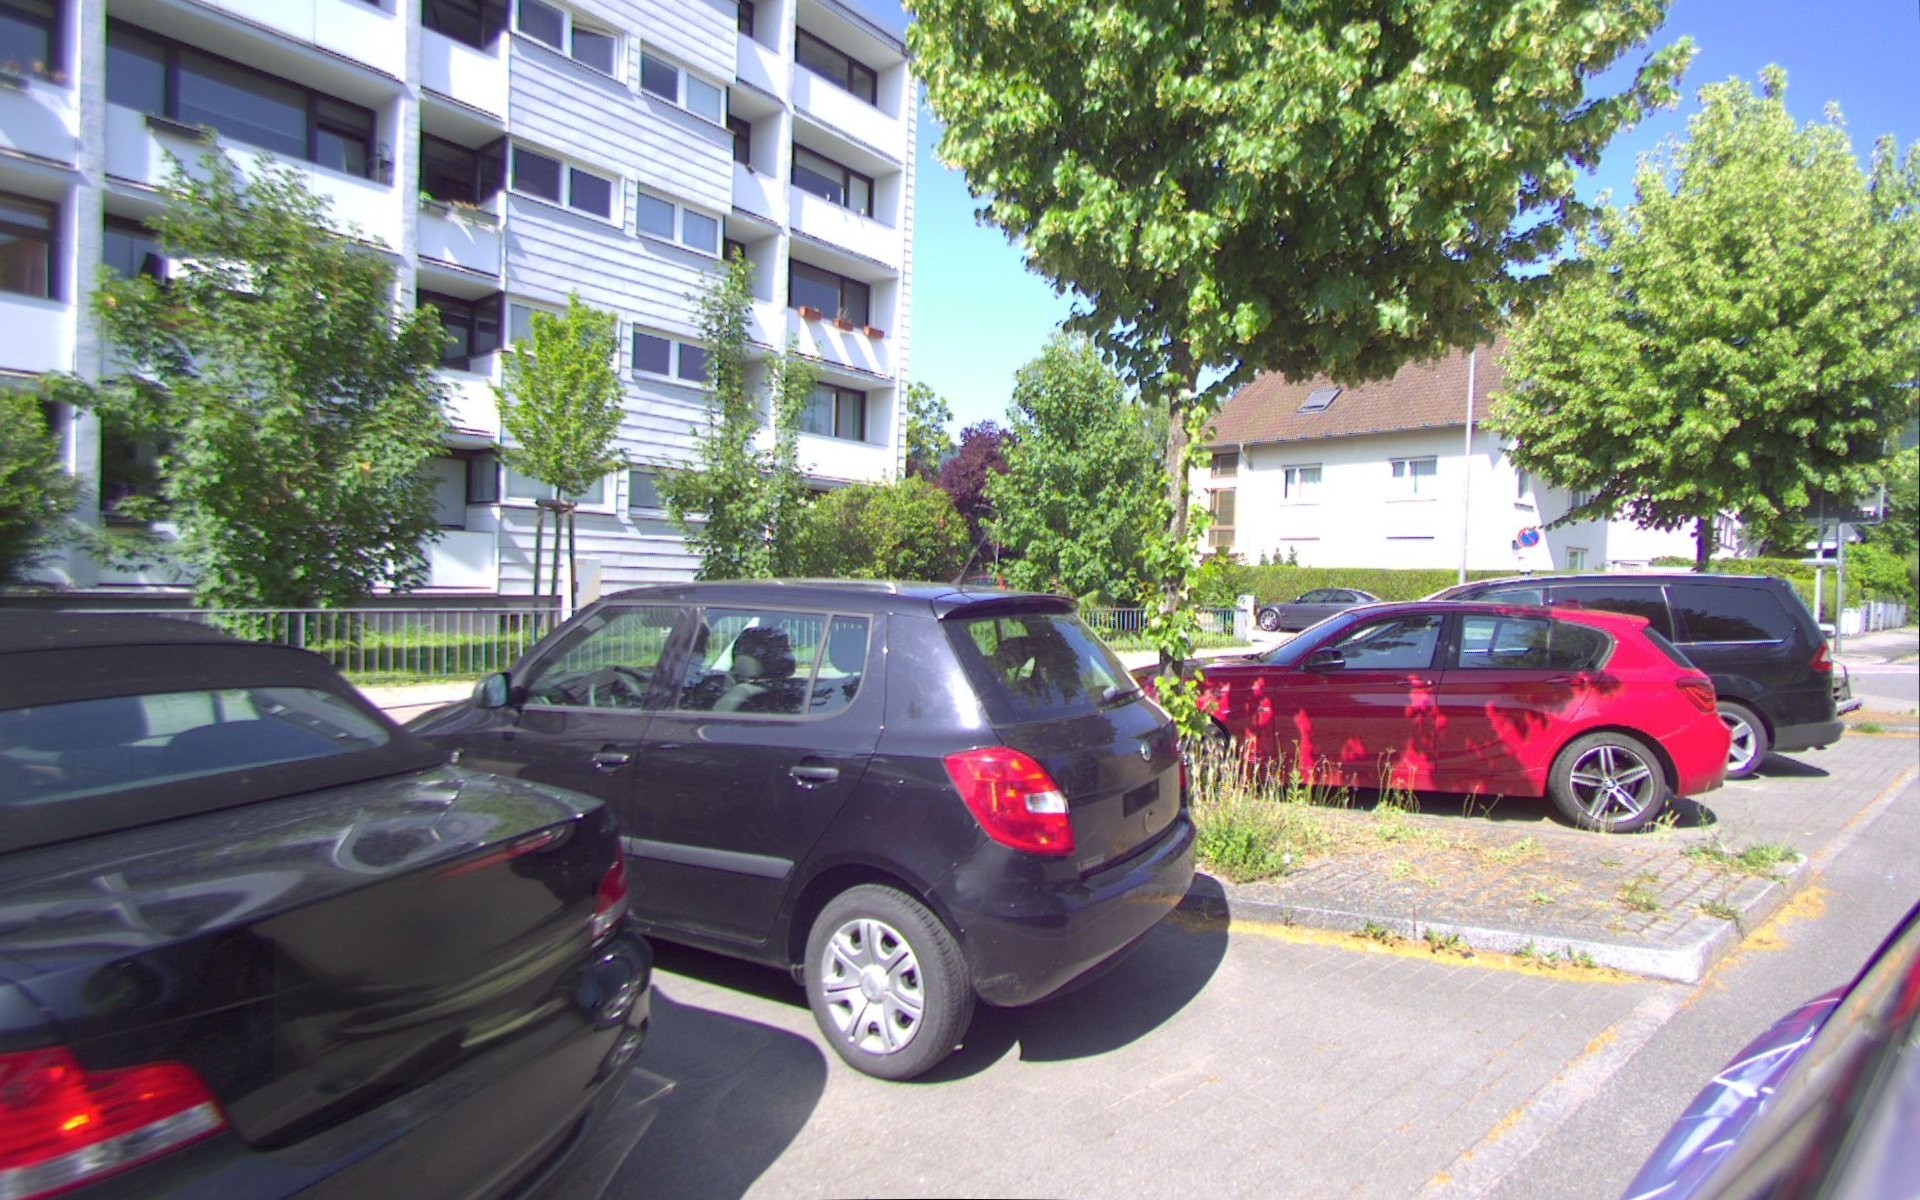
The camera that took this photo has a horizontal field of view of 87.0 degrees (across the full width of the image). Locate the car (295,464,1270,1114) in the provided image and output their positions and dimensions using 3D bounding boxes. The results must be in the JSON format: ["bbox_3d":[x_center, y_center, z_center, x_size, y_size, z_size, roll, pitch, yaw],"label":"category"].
[{"bbox_3d":[-0.899,0.408,4.380,3.968,1.660,1.781,2,1,31],"label":"car"}]

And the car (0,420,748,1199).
[{"bbox_3d":[-2.705,0.565,2.410,3.946,1.660,1.743,2,1,18],"label":"car"}]

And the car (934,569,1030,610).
[{"bbox_3d":[0.860,-0.452,41.396,1.619,1.473,3.995,1,2,-41],"label":"car"}]

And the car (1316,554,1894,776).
[{"bbox_3d":[5.553,0.460,9.423,4.064,1.660,2.034,2,1,17],"label":"car"}]

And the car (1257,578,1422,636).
[{"bbox_3d":[11.006,0.174,29.539,1.778,1.415,4.125,4,0,-40],"label":"car"}]

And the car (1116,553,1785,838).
[{"bbox_3d":[3.225,0.522,7.471,3.941,1.660,1.873,1,2,14],"label":"car"}]
